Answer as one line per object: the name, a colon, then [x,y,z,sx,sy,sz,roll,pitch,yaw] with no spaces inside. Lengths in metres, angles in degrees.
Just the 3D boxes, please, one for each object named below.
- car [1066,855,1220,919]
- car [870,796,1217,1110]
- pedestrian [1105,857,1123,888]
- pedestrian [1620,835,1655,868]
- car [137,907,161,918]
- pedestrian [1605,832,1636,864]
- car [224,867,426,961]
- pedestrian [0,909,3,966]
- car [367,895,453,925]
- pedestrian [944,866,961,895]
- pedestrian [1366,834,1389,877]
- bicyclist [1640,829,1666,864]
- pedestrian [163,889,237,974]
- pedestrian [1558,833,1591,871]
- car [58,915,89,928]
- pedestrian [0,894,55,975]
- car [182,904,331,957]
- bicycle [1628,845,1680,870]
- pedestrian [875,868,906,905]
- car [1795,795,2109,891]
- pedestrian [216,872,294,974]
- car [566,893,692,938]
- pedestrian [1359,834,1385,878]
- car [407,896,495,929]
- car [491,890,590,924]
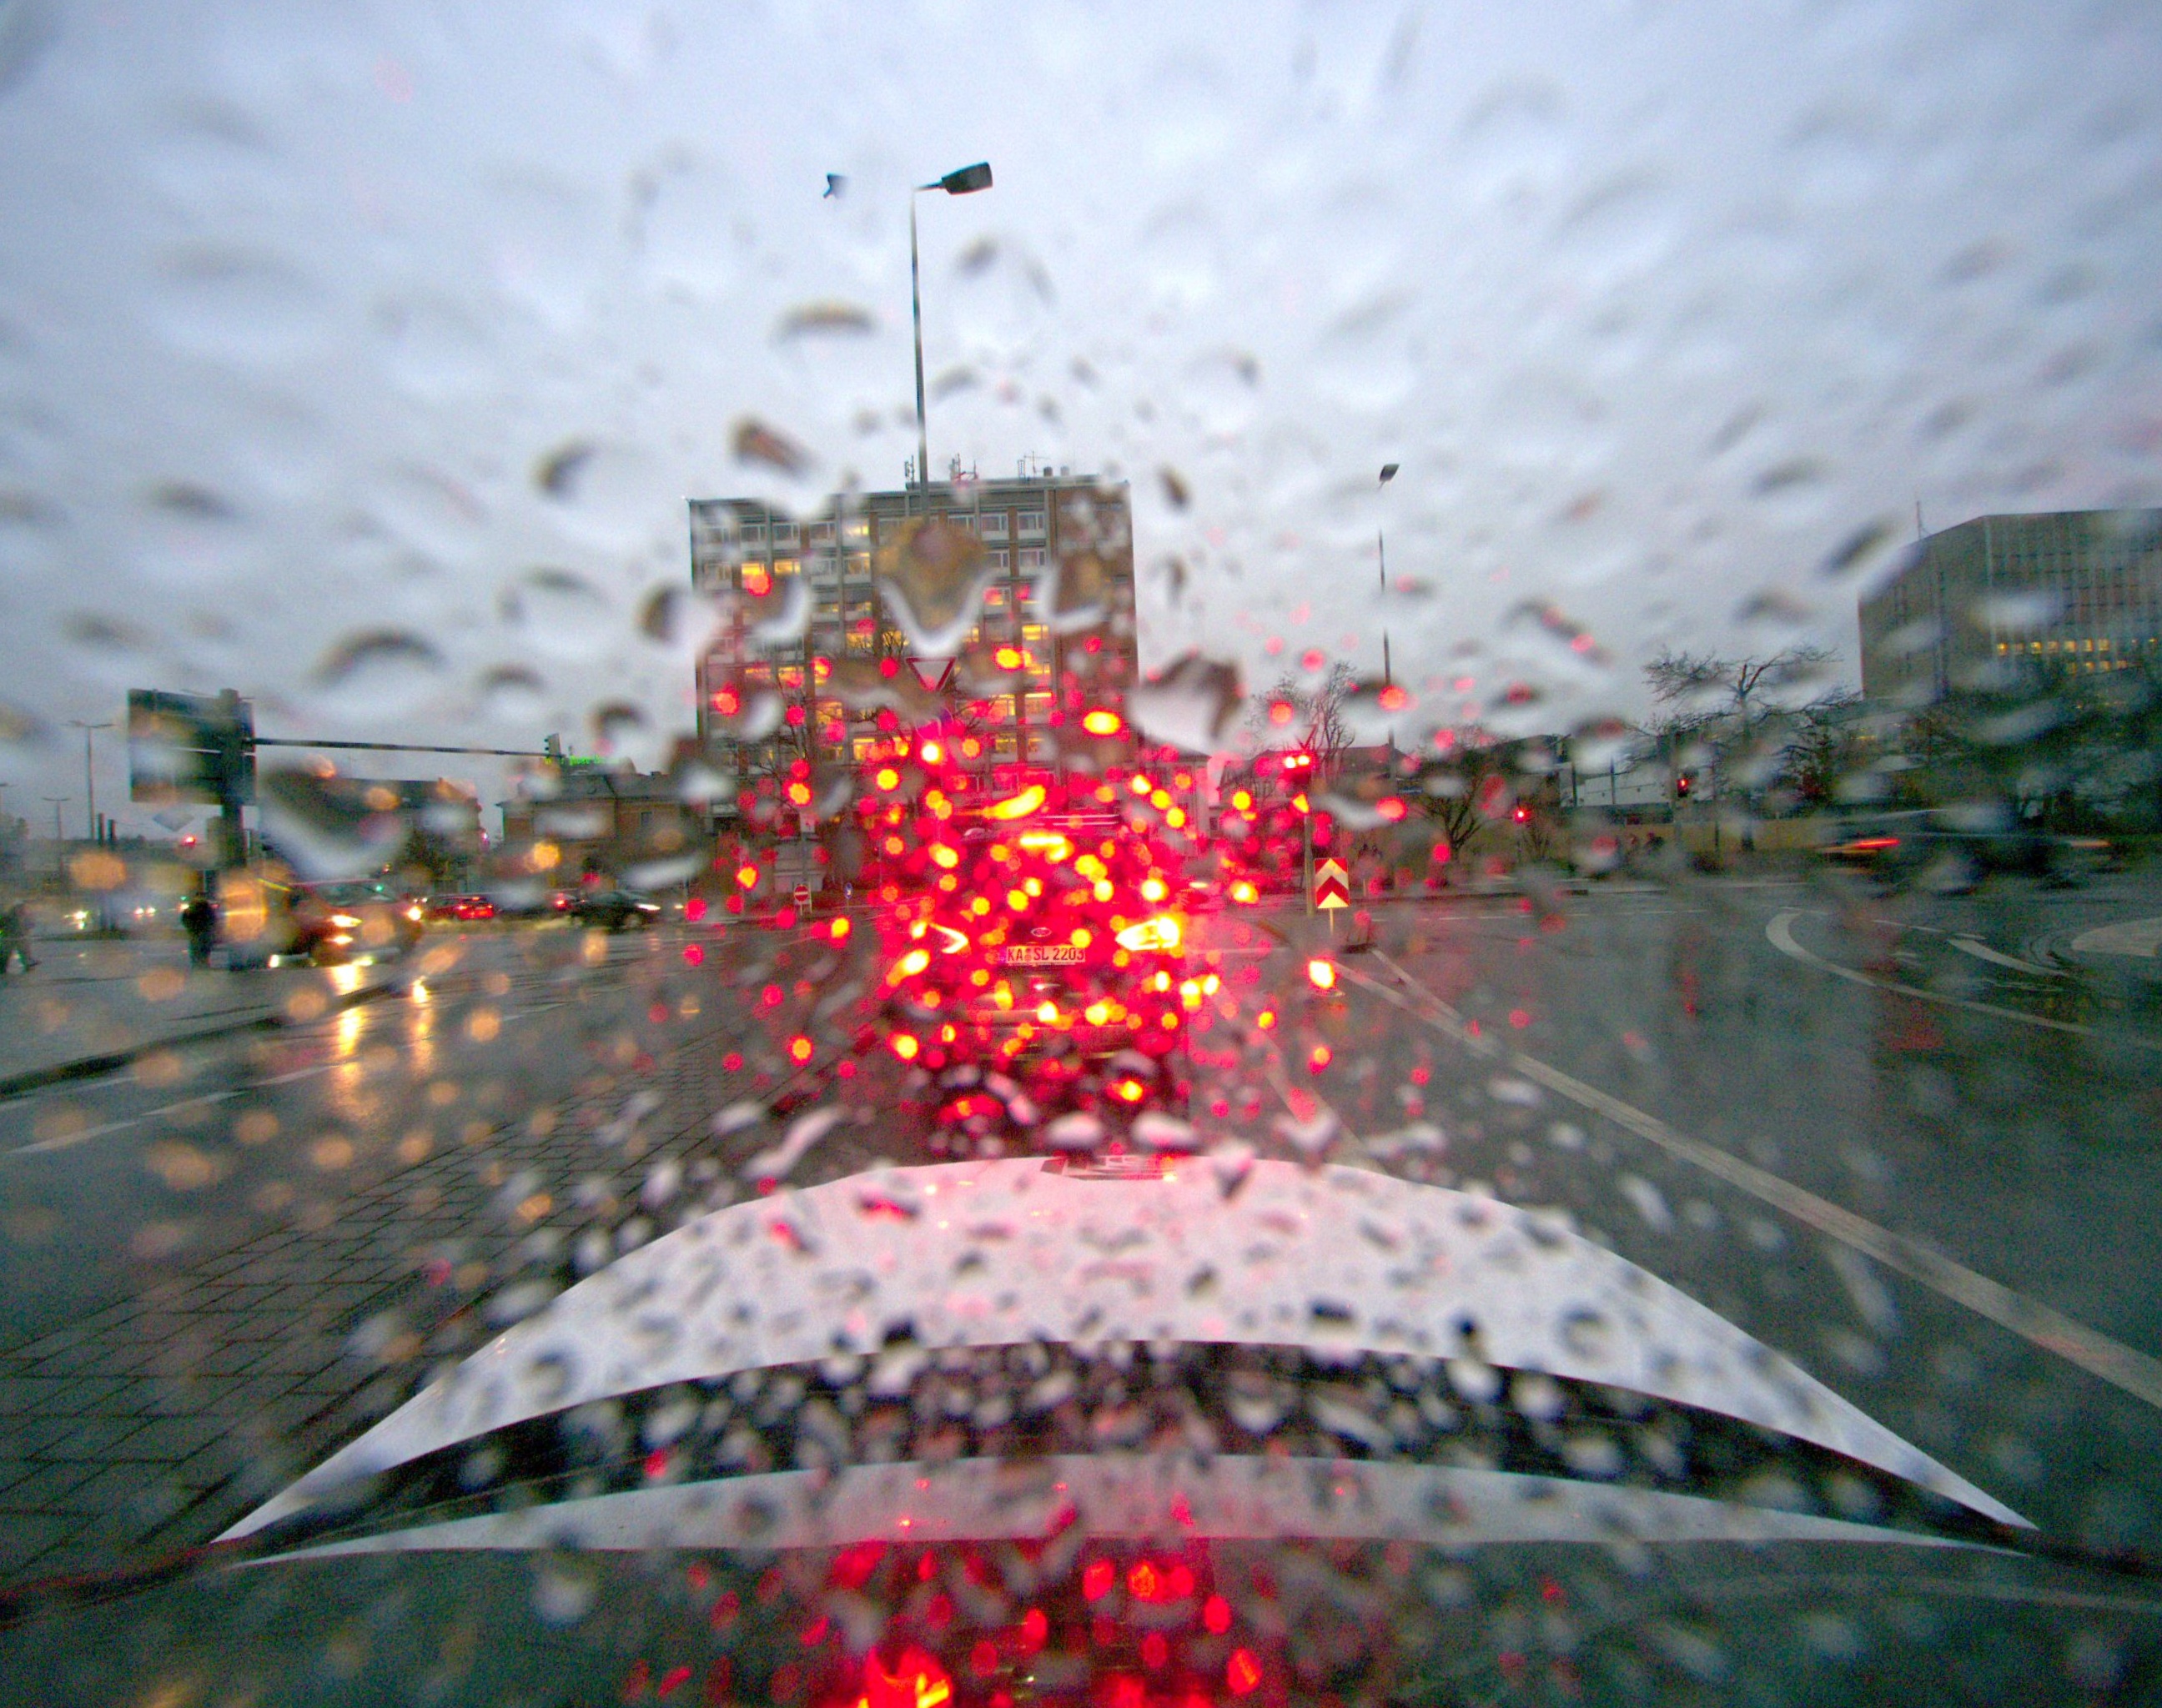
car: [1.820,0.939,23.426,4.095,1.582,1.848,-3,-1,13]
car: [-0.158,0.587,6.690,1.986,1.789,4.001,0,-1,2]
pedestrian: [1.830,1.011,45.073,0.754,1.628,0.559,-3,0,14]
pedestrian: [26.697,-0.132,39.109,0.921,1.533,1.043,-3,0,2]
car: [-146.653,9.230,128.198,1.747,1.509,3.954,-3,0,-38]
pedestrian: [26.657,-0.290,40.252,0.889,1.533,0.886,-3,0,2]
car: [-19.264,1.533,20.755,4.588,2.070,1.941,-4,0,22]
pedestrian: [-25.464,1.735,18.638,0.542,1.770,0.746,-3,0,15]
car: [-38.333,3.174,46.587,1.496,1.461,3.453,-1,-1,31]
pedestrian: [-7.503,1.546,47.546,0.634,1.688,0.640,-3,0,18]
pedestrian: [15.160,0.087,41.634,0.887,2.113,0.889,-3,0,13]
bicyclist: [26.602,-0.351,37.856,0.682,1.599,0.660,-3,0,3]
pedestrian: [-19.537,1.704,18.077,0.653,1.755,0.856,-3,0,18]
pedestrian: [24.390,-0.090,40.263,0.992,1.799,0.920,-3,0,2]
car: [-134.220,8.979,108.494,1.748,1.509,3.954,-3,0,-39]
pedestrian: [-25.192,1.908,19.346,0.669,1.838,0.738,-3,0,16]
car: [-28.982,2.690,28.651,4.093,1.582,1.849,-3,-1,15]
bicycle: [26.629,0.177,37.860,1.875,1.048,0.660,-3,0,2]
pedestrian: [-10.092,1.717,43.195,0.992,1.842,1.146,-3,2,25]
car: [18.193,-0.203,17.230,4.285,1.689,1.845,-3,-1,8]
pedestrian: [-17.394,1.420,17.188,0.996,2.021,0.792,-3,0,-39]
car: [-15.559,2.116,28.072,3.723,1.302,1.709,-3,-1,19]
pedestrian: [14.551,0.080,40.726,0.890,2.113,0.886,-3,0,2]
car: [-33.322,3.055,43.080,3.954,1.568,1.836,-1,-1,20]
car: [-26.749,2.589,40.332,3.959,1.568,1.833,-1,-1,13]
